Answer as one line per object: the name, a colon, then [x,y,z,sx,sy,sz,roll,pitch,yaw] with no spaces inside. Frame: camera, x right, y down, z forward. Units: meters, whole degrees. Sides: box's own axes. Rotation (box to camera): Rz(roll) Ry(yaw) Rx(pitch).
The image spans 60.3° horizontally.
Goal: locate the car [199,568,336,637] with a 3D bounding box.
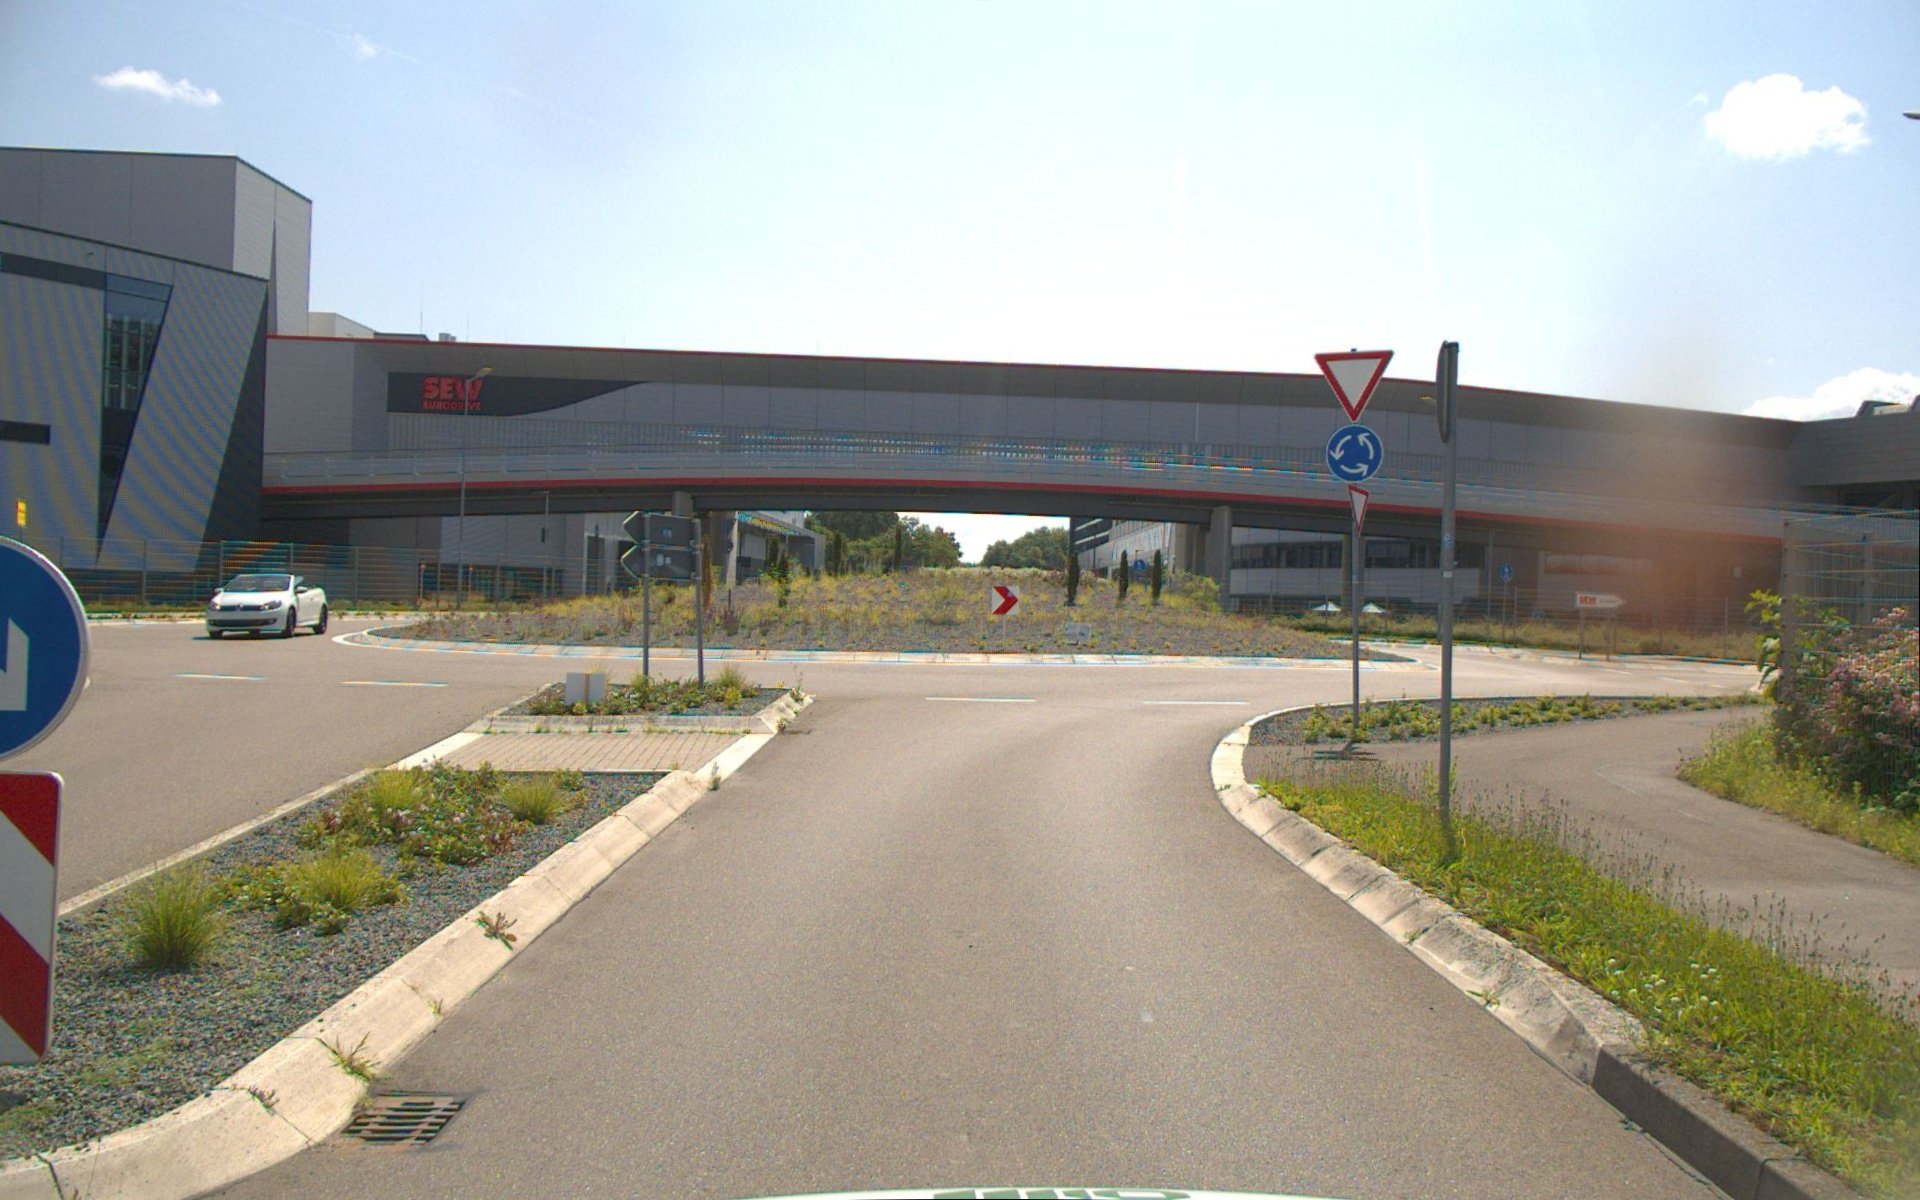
car: [-15.554,0.074,37.372,1.736,1.453,4.046,1,0,-6]
